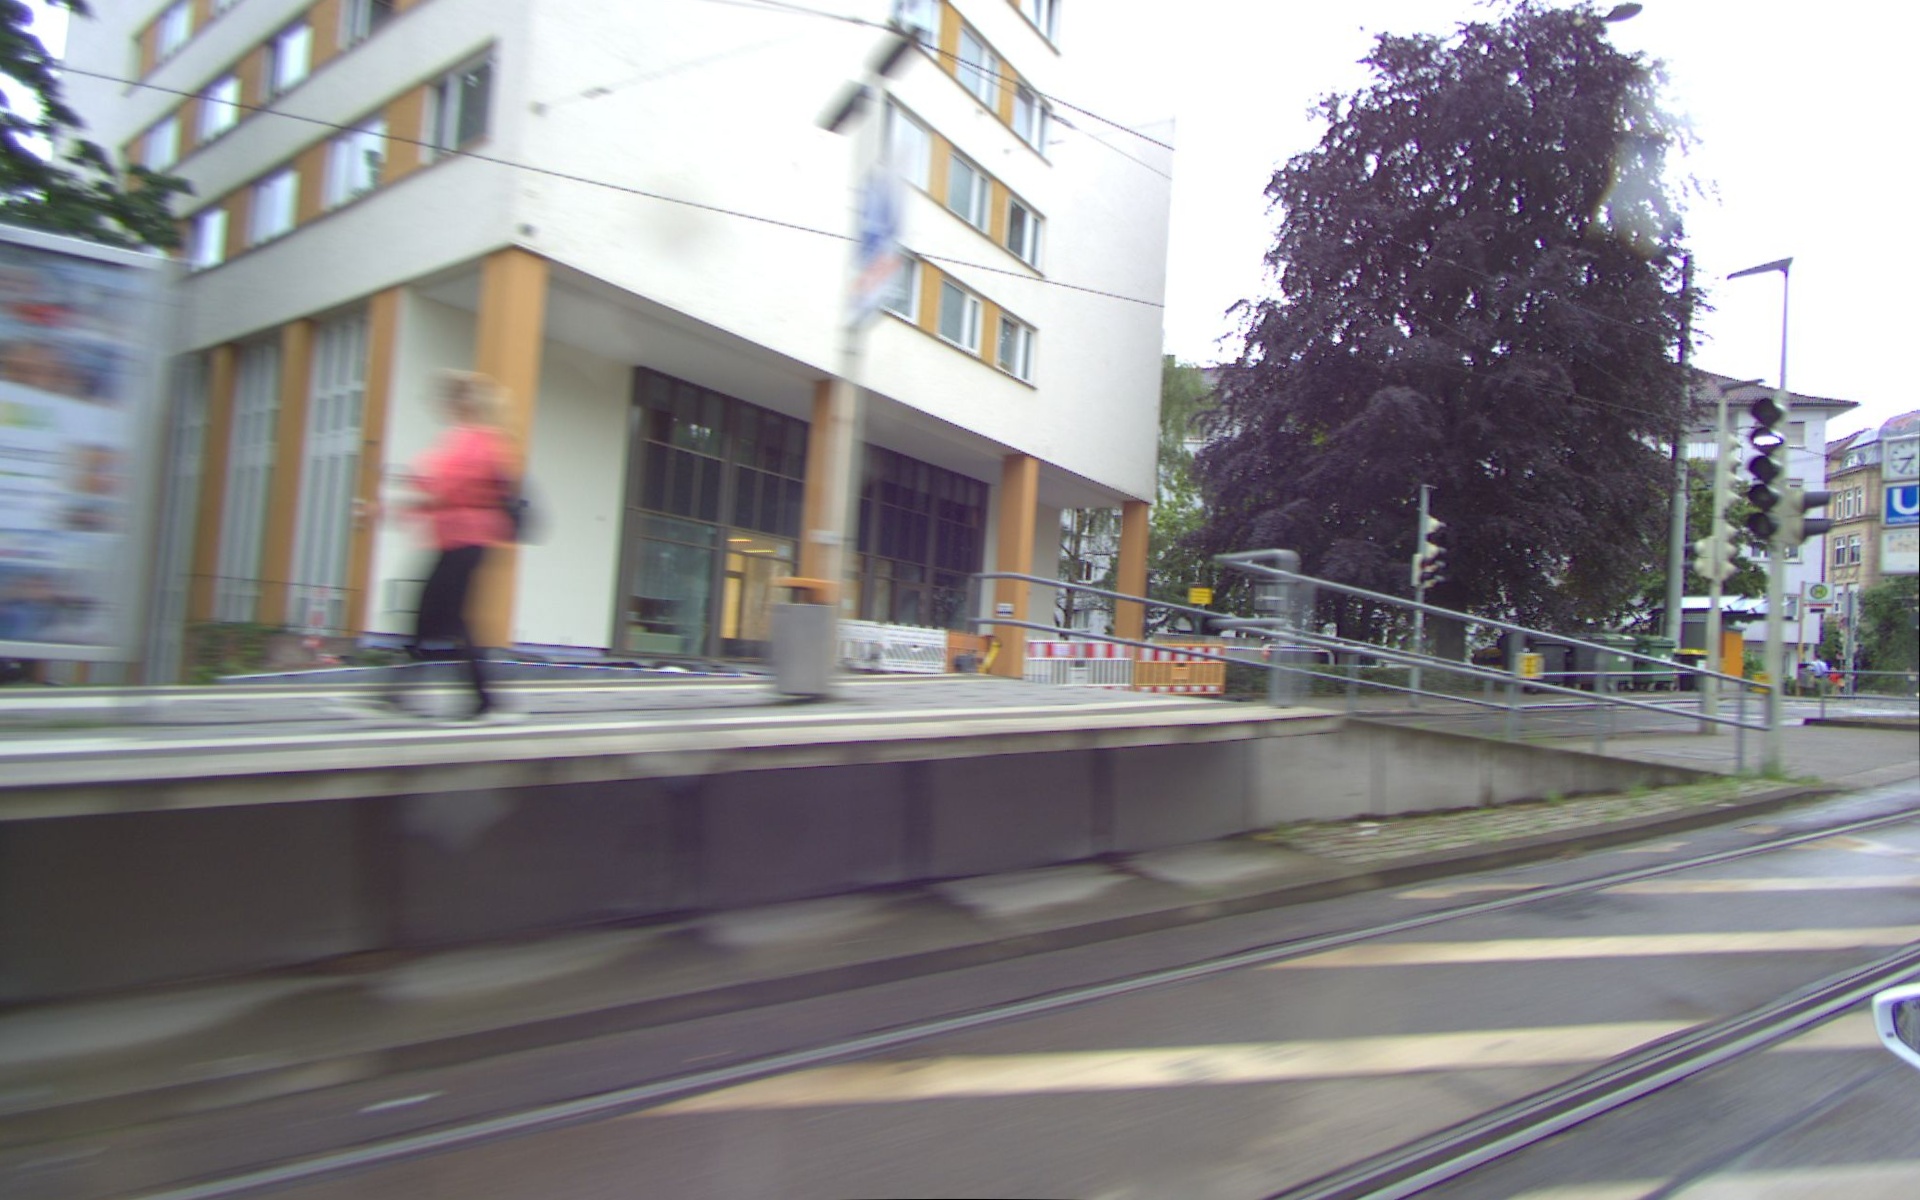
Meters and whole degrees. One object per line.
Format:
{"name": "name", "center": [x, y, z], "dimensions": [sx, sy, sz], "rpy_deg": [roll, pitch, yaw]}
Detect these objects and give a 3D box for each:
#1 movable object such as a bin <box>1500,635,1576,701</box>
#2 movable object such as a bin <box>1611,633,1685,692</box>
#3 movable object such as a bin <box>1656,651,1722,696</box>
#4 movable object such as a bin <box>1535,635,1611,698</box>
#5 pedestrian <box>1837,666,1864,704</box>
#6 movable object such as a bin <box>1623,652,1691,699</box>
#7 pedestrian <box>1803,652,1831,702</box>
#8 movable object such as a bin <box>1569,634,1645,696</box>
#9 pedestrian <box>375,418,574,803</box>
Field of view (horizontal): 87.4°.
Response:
{"name": "movable object such as a bin", "center": [13.672, 1.585, 23.781], "dimensions": [1.287, 1.453, 1.017], "rpy_deg": [1, 1, -27]}
{"name": "movable object such as a bin", "center": [17.825, 1.596, 26.024], "dimensions": [1.409, 1.453, 1.017], "rpy_deg": [1, 1, -27]}
{"name": "movable object such as a bin", "center": [20.665, 2.073, 28.474], "dimensions": [1.325, 1.153, 1.017], "rpy_deg": [1, 1, -27]}
{"name": "movable object such as a bin", "center": [14.876, 1.592, 24.400], "dimensions": [1.338, 1.453, 1.017], "rpy_deg": [1, 1, -27]}
{"name": "pedestrian", "center": [42.819, 4.087, 48.295], "dimensions": [0.730, 1.722, 0.673], "rpy_deg": [1, 1, 16]}
{"name": "movable object such as a bin", "center": [19.041, 2.042, 27.445], "dimensions": [1.325, 1.153, 1.017], "rpy_deg": [1, 1, -27]}
{"name": "pedestrian", "center": [29.670, 2.655, 34.762], "dimensions": [0.768, 1.706, 0.564], "rpy_deg": [3, -3, -37]}
{"name": "movable object such as a bin", "center": [16.238, 1.602, 25.222], "dimensions": [1.426, 1.453, 1.017], "rpy_deg": [1, 1, -27]}
{"name": "pedestrian", "center": [-2.215, 0.051, 4.576], "dimensions": [0.762, 1.568, 0.668], "rpy_deg": [0, -1, -30]}
